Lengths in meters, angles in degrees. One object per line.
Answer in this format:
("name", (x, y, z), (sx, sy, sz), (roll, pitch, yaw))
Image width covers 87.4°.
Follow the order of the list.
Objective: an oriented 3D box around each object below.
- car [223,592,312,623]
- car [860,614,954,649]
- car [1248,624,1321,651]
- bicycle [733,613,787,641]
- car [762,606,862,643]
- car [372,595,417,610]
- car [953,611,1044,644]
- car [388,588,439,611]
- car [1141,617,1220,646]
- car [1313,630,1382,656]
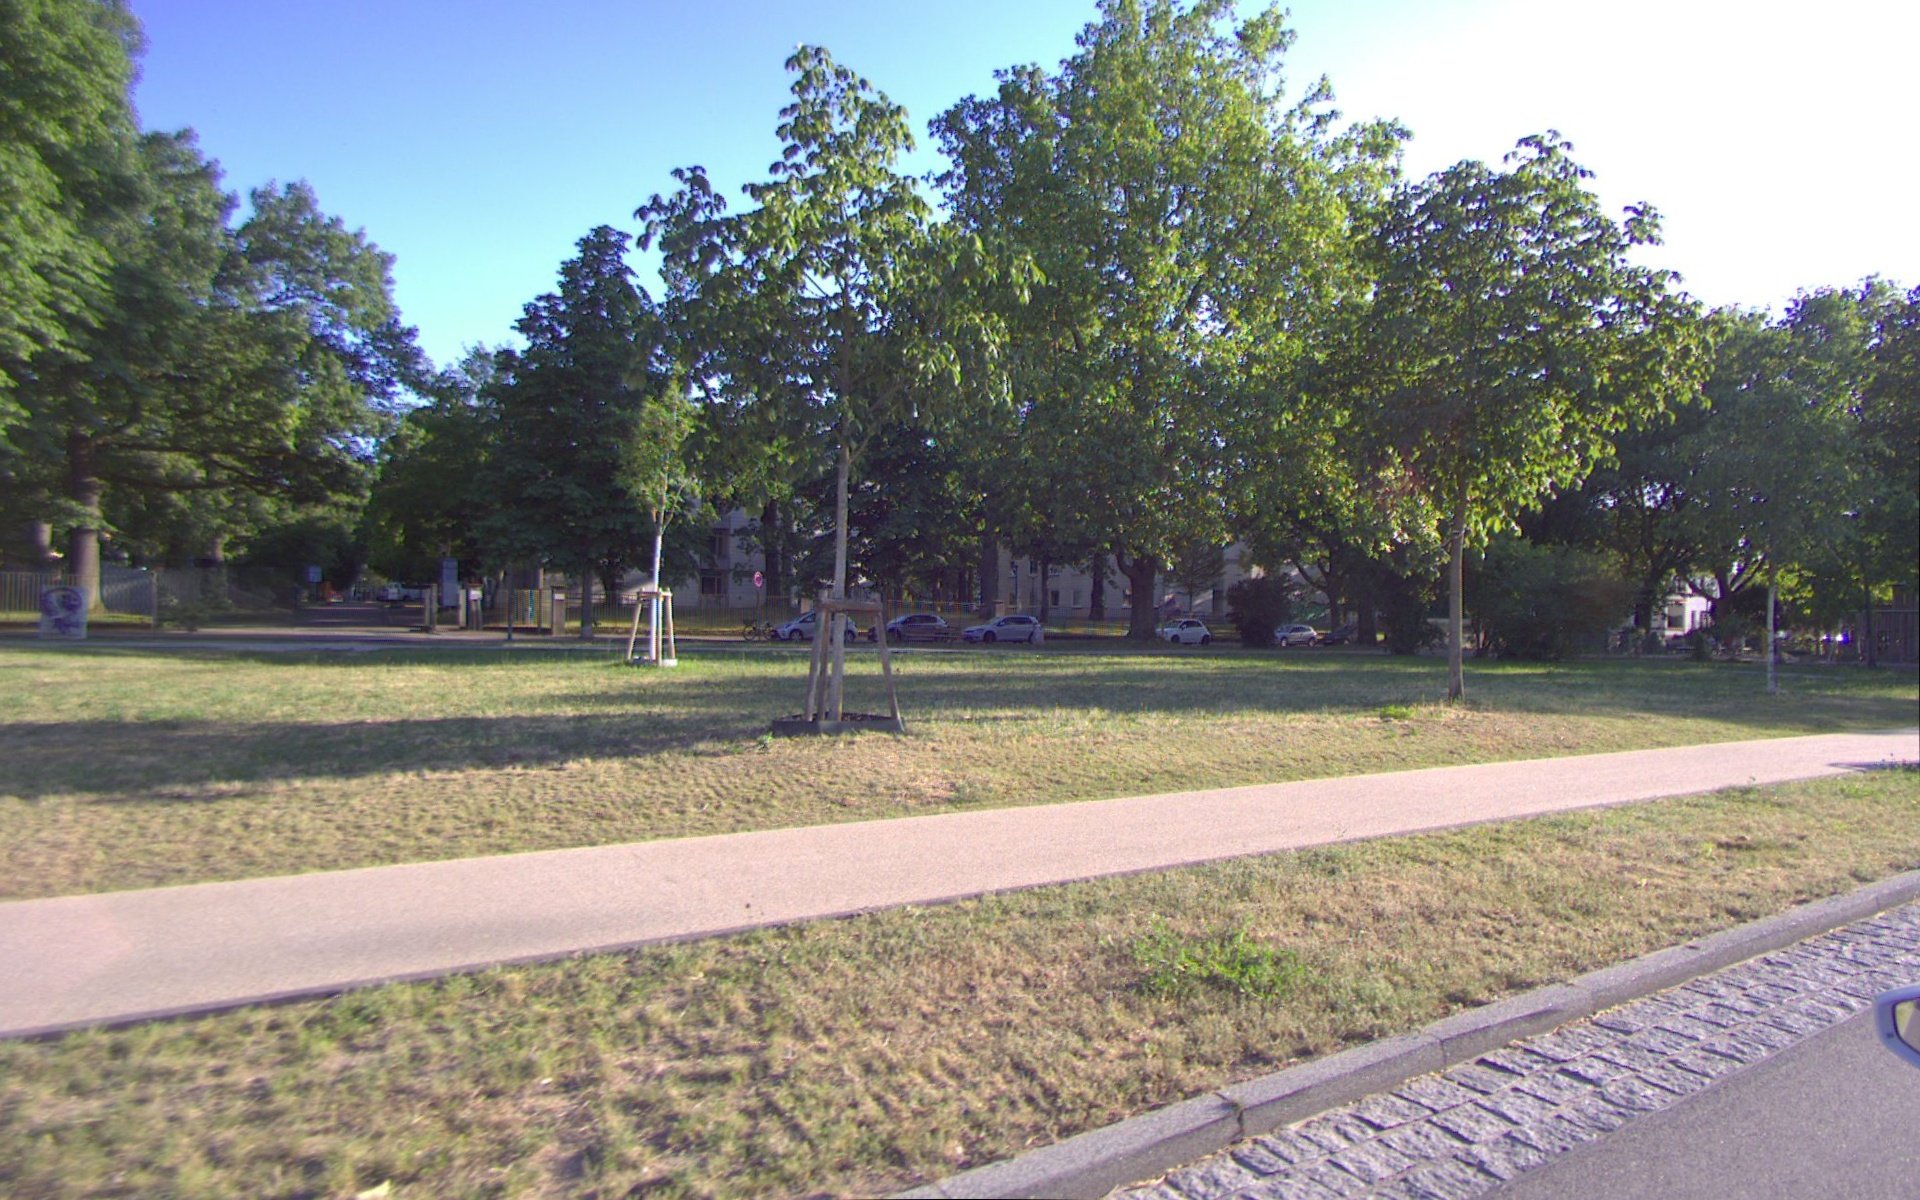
("car", (-41.209, 0.466, 59.878), (4.201, 1.670, 1.618), (2, -2, -31))
("car", (-2.502, 1.499, 47.278), (3.953, 1.528, 1.984), (2, -2, -30))
("car", (19.699, 2.262, 60.925), (4.067, 1.528, 1.984), (2, -2, -30))
("bicycle", (-9.005, 1.222, 45.332), (2.309, 1.191, 0.653), (3, -2, -34))
("car", (-6.581, 1.110, 44.811), (3.953, 1.528, 1.984), (2, -2, -30))
("car", (-64.686, 0.301, 114.861), (1.602, 1.608, 4.242), (1, -2, 30))
("car", (1.920, 1.375, 49.812), (4.067, 1.528, 1.984), (2, -2, -30))
("car", (-54.494, -0.064, 100.273), (1.602, 2.085, 4.242), (1, -2, 30))
("car", (12.312, 1.760, 56.133), (4.067, 1.528, 1.984), (2, -2, -30))
("car", (24.582, 2.744, 63.719), (4.067, 1.528, 1.984), (2, -2, -30))
